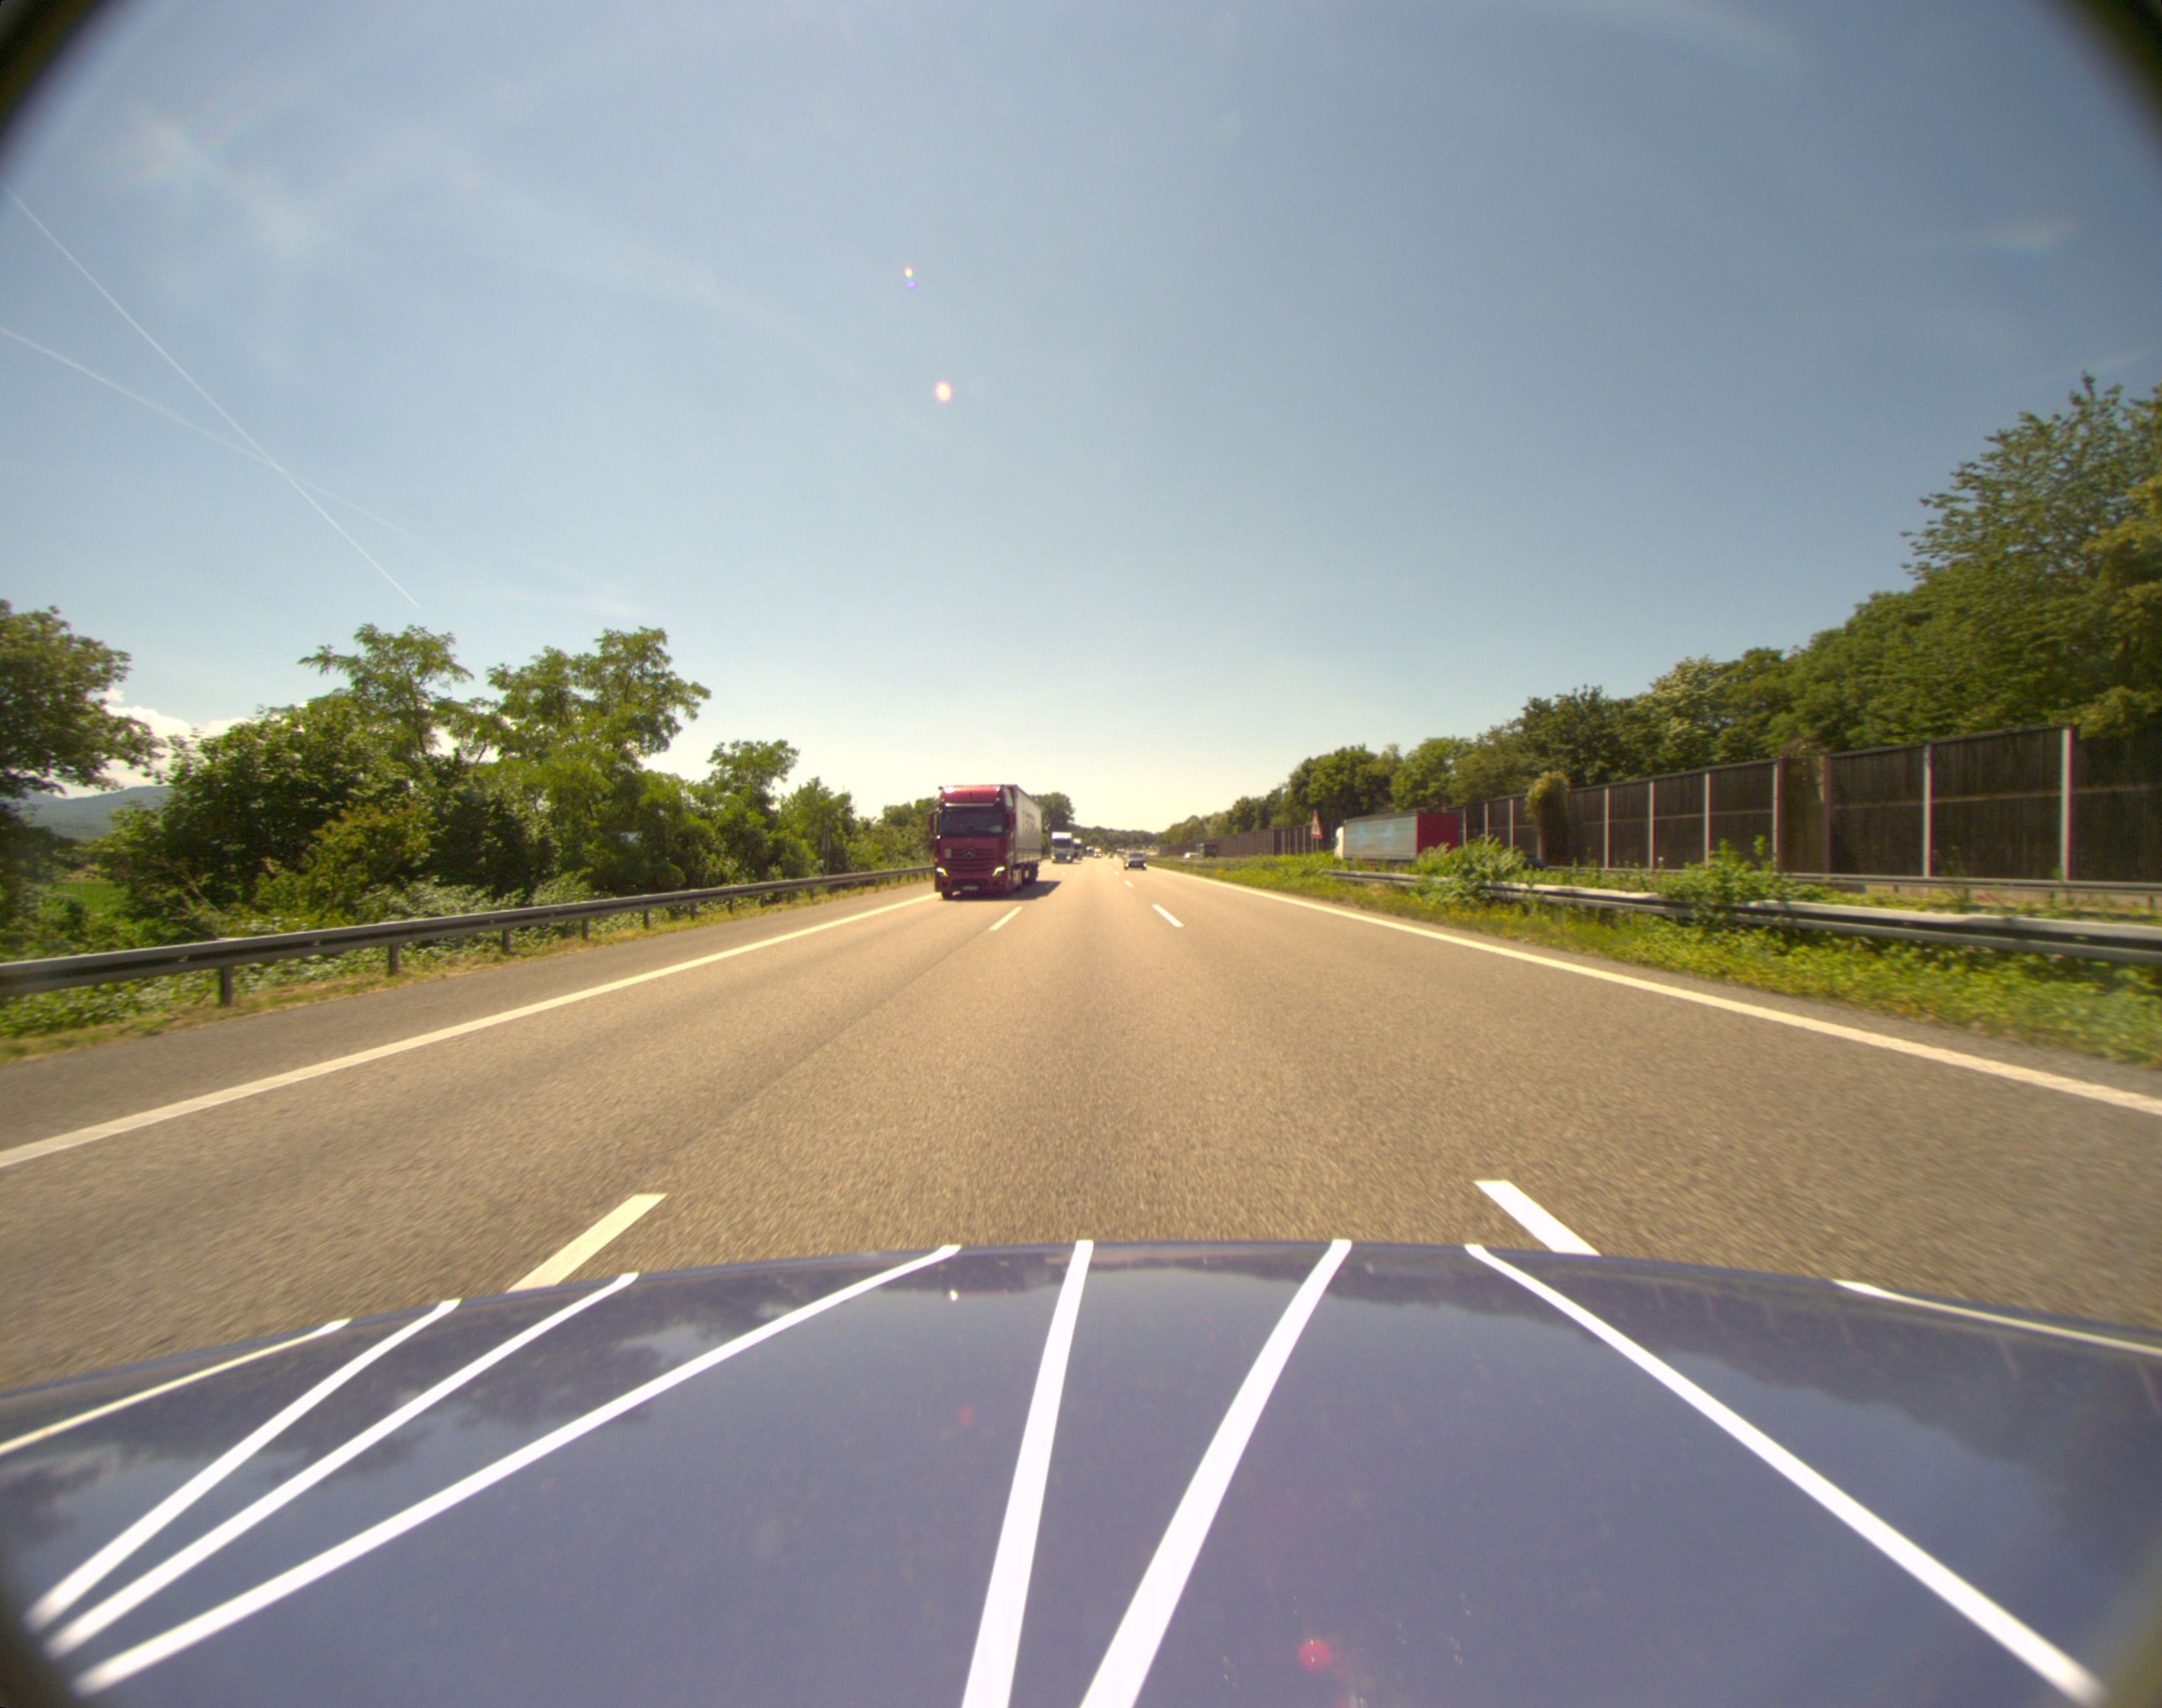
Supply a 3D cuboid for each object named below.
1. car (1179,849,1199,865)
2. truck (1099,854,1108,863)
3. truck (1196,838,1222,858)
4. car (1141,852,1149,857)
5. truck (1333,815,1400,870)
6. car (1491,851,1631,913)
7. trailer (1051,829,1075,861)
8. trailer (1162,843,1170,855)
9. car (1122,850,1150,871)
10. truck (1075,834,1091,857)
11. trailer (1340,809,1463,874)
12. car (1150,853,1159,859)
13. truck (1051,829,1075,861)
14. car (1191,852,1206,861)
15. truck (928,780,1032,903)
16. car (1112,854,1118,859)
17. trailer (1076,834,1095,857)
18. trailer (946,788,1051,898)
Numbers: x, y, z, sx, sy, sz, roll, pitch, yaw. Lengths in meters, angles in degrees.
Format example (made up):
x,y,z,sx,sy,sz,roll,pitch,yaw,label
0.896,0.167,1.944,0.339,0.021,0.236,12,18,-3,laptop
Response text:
x,y,z,sx,sy,sz,roll,pitch,yaw,label
14.712,0.404,103.917,1.998,2.002,4.895,-2,0,1,car
6.987,1.439,233.680,2.715,2.712,12.369,0,0,2,truck
24.612,-1.065,146.724,3.097,3.654,12.367,0,0,0,truck
18.019,0.122,214.781,1.962,1.438,4.459,0,0,1,car
22.218,-0.864,59.507,2.765,3.999,6.733,0,1,0,truck
17.187,0.914,27.558,1.998,2.002,4.895,-2,0,1,car
-2.363,-1.143,105.146,2.967,4.082,12.531,1,0,0,trailer
28.868,-1.697,257.994,2.501,4.063,14.275,1,0,5,trailer
4.679,0.520,64.805,1.909,1.717,4.374,1,0,-2,car
0.380,-1.629,147.498,2.541,4.446,5.574,1,0,6,truck
22.187,-0.834,53.972,2.741,3.998,14.304,0,0,0,trailer
17.686,0.442,182.878,1.869,1.433,5.085,0,0,1,car
-2.353,-1.138,99.176,2.967,4.082,6.206,1,0,0,truck
19.917,0.391,128.976,1.998,1.581,4.493,0,0,1,car
-3.568,-0.413,28.656,2.713,4.064,6.965,0,0,2,truck
10.890,0.719,245.173,1.908,1.717,4.377,1,0,4,car
1.080,-1.648,154.775,2.541,4.446,14.166,1,0,6,trailer
-3.326,-0.429,35.033,2.713,4.064,14.152,0,0,2,trailer
